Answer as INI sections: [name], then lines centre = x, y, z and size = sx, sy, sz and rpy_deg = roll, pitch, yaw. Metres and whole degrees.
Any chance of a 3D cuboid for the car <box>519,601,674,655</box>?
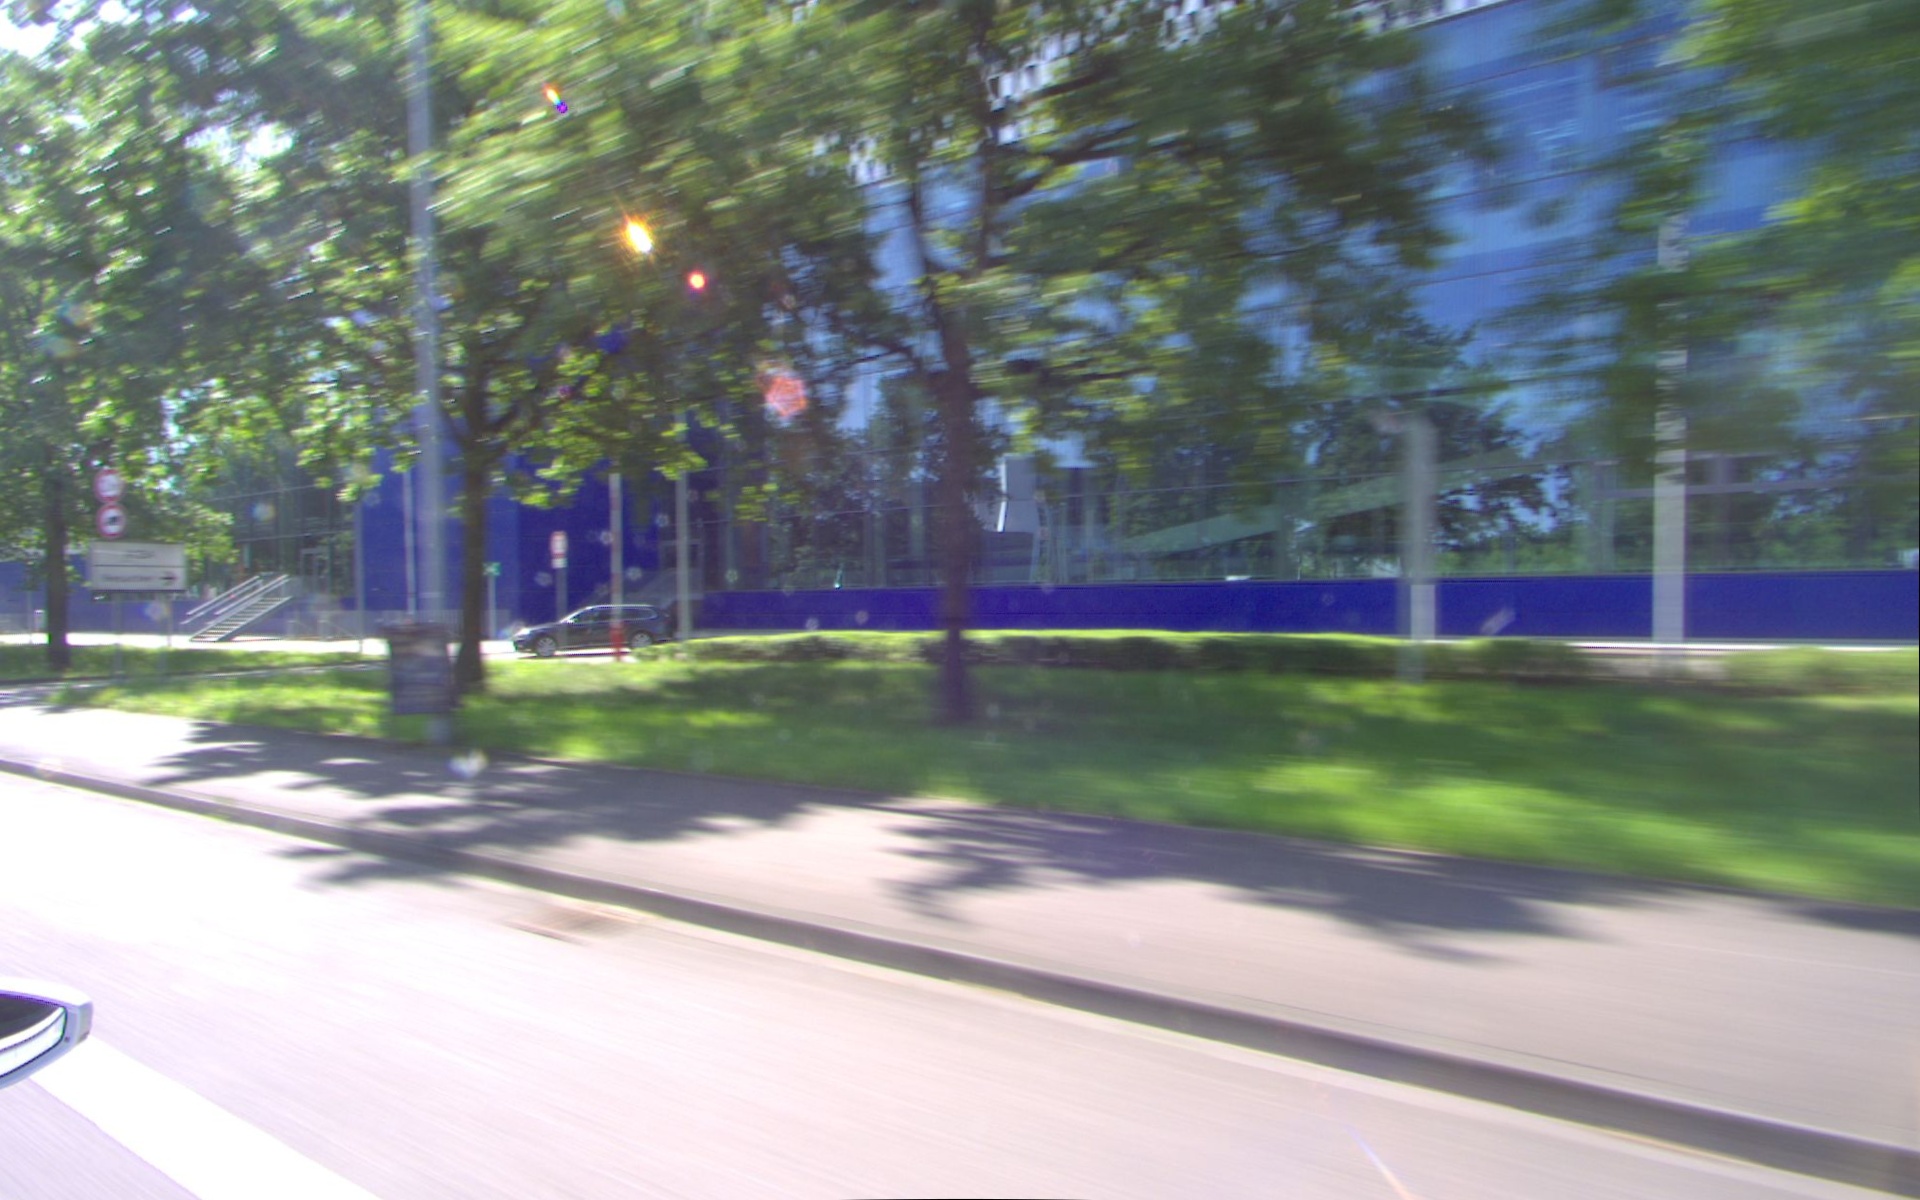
[car]
centre = -11.196, 0.819, 30.845
size = 4.306, 1.540, 1.904
rpy_deg = -1, 0, -26
